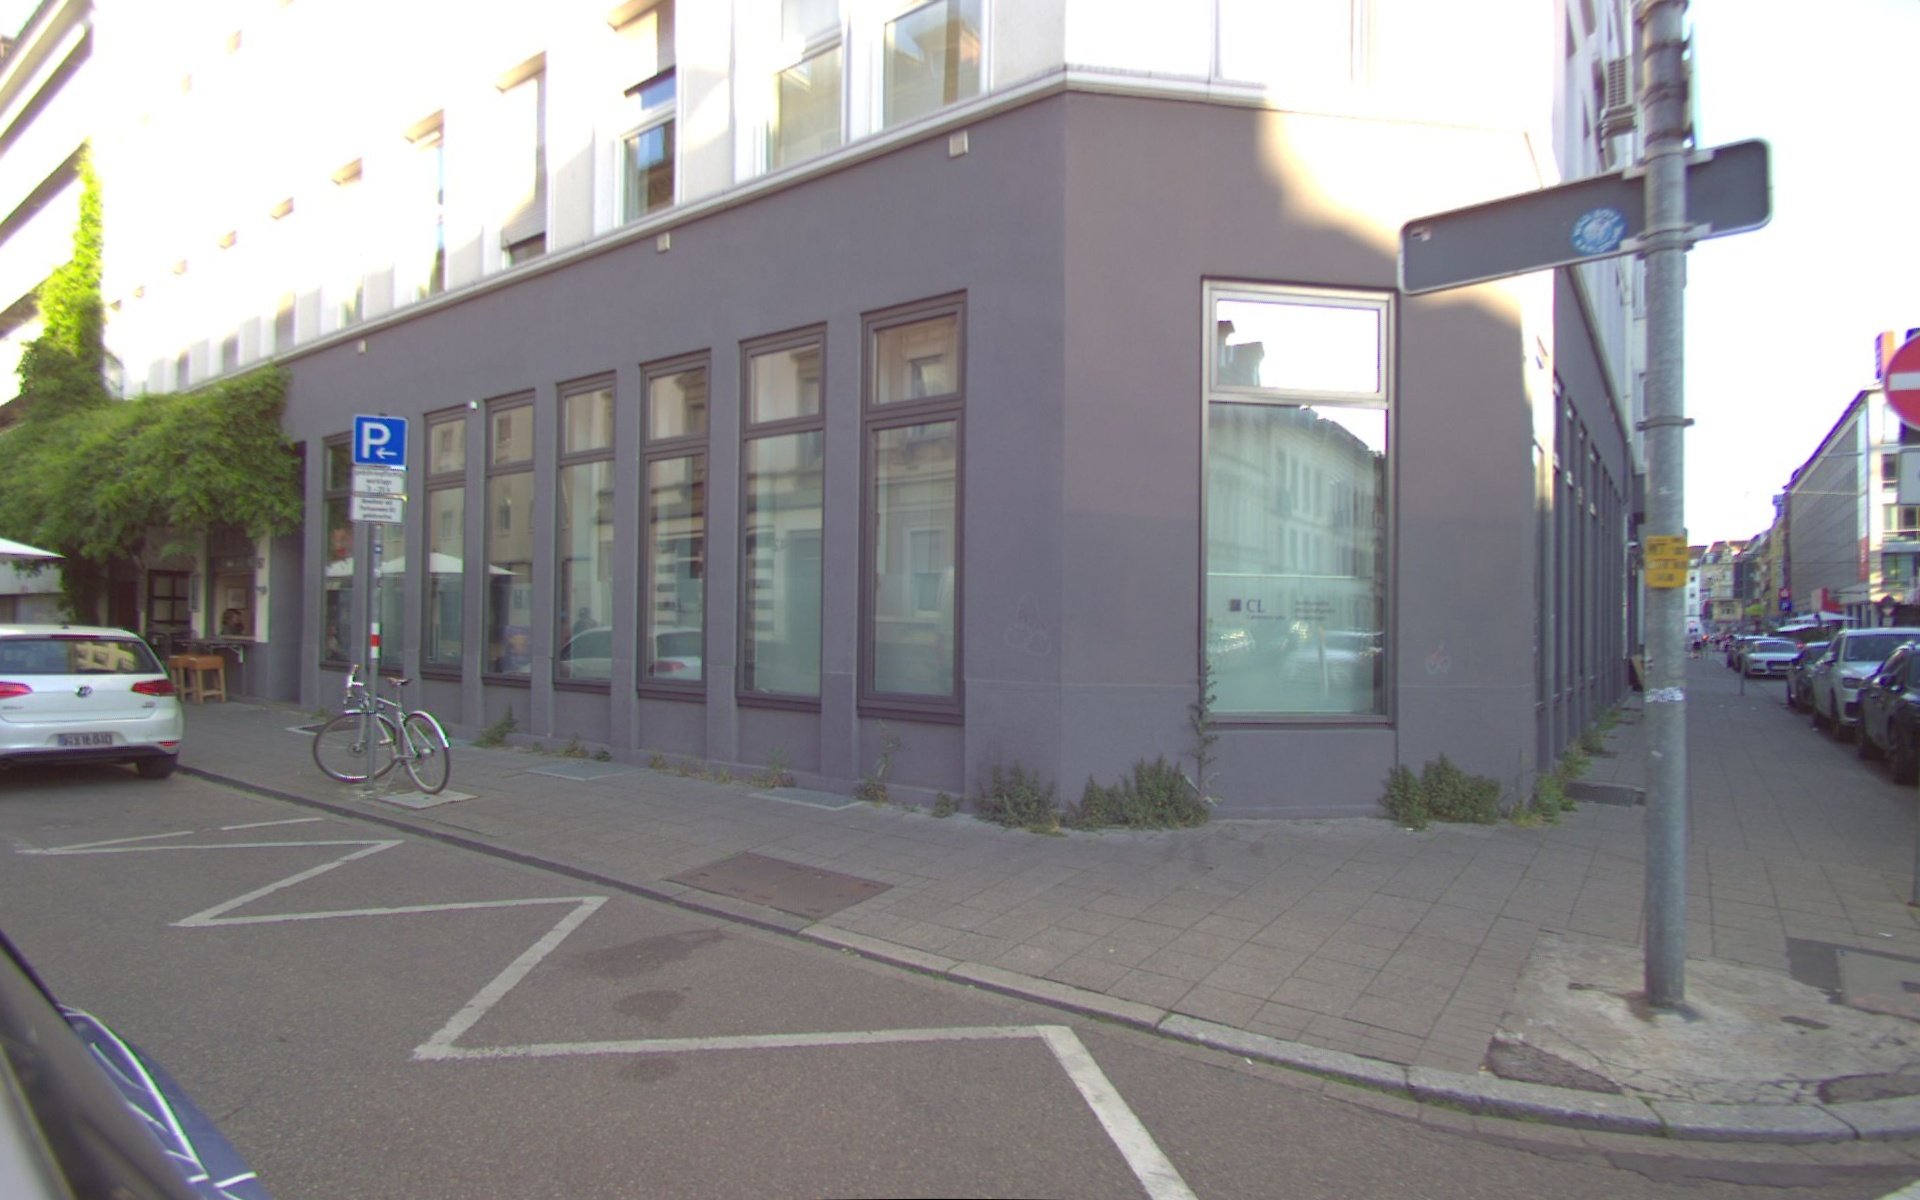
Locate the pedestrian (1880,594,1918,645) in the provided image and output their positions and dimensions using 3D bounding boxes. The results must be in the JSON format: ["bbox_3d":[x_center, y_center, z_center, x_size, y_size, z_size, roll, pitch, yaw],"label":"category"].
[{"bbox_3d":[49.321,1.031,53.182,1.246,2.634,1.449,-1,-1,36],"label":"pedestrian"}]

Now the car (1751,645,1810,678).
[{"bbox_3d":[29.892,2.230,36.935,1.512,1.067,3.424,-1,-2,36],"label":"car"}]

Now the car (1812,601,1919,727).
[{"bbox_3d":[14.921,0.941,15.662,2.333,1.757,4.432,-1,-2,36],"label":"car"}]

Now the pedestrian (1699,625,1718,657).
[{"bbox_3d":[41.728,2.258,56.408,0.709,1.775,0.876,0,-2,29],"label":"pedestrian"}]

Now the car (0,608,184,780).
[{"bbox_3d":[-9.266,0.791,9.854,3.874,1.424,1.643,0,-2,36],"label":"car"}]

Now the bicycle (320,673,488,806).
[{"bbox_3d":[-4.575,1.094,8.291,1.641,0.912,0.590,-1,-2,37],"label":"bicycle"}]

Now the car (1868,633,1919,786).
[{"bbox_3d":[11.570,1.152,11.073,2.011,1.536,4.066,-1,-2,36],"label":"car"}]

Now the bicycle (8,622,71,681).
[{"bbox_3d":[-19.110,1.052,20.997,1.791,1.169,0.637,-1,-1,37],"label":"bicycle"}]

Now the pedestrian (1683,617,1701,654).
[{"bbox_3d":[42.048,2.052,58.114,0.724,2.107,0.797,0,-2,29],"label":"pedestrian"}]

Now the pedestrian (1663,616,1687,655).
[{"bbox_3d":[40.986,2.037,58.001,1.028,2.191,0.876,0,-2,30],"label":"pedestrian"}]
